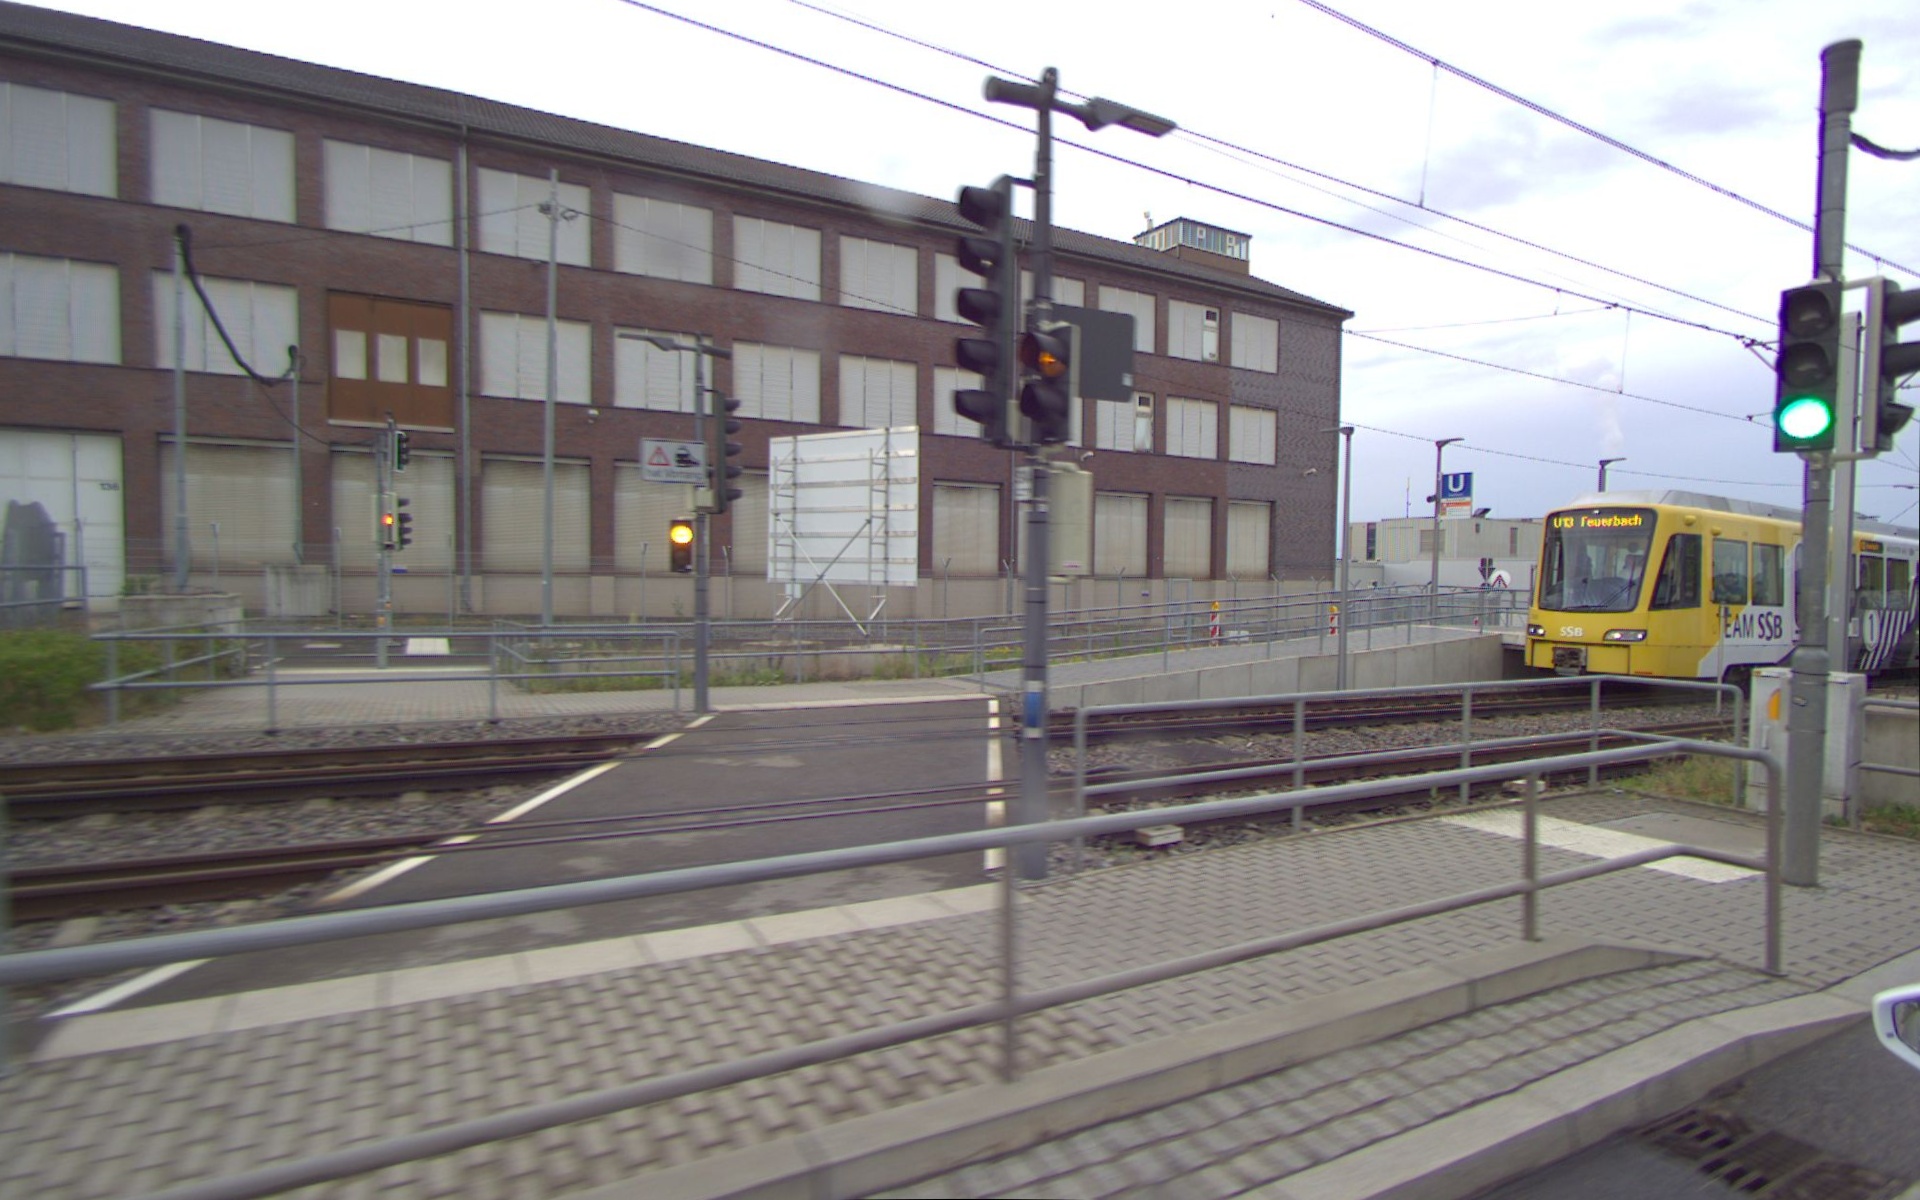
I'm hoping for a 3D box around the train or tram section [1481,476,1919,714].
[{"bbox_3d":[18.950,0.076,23.121,19.358,3.938,2.938,1,2,-33],"label":"train or tram section"}]

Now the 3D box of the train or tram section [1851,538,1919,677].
[{"bbox_3d":[35.080,0.408,33.602,19.085,3.938,2.937,1,2,-34],"label":"train or tram section"}]
